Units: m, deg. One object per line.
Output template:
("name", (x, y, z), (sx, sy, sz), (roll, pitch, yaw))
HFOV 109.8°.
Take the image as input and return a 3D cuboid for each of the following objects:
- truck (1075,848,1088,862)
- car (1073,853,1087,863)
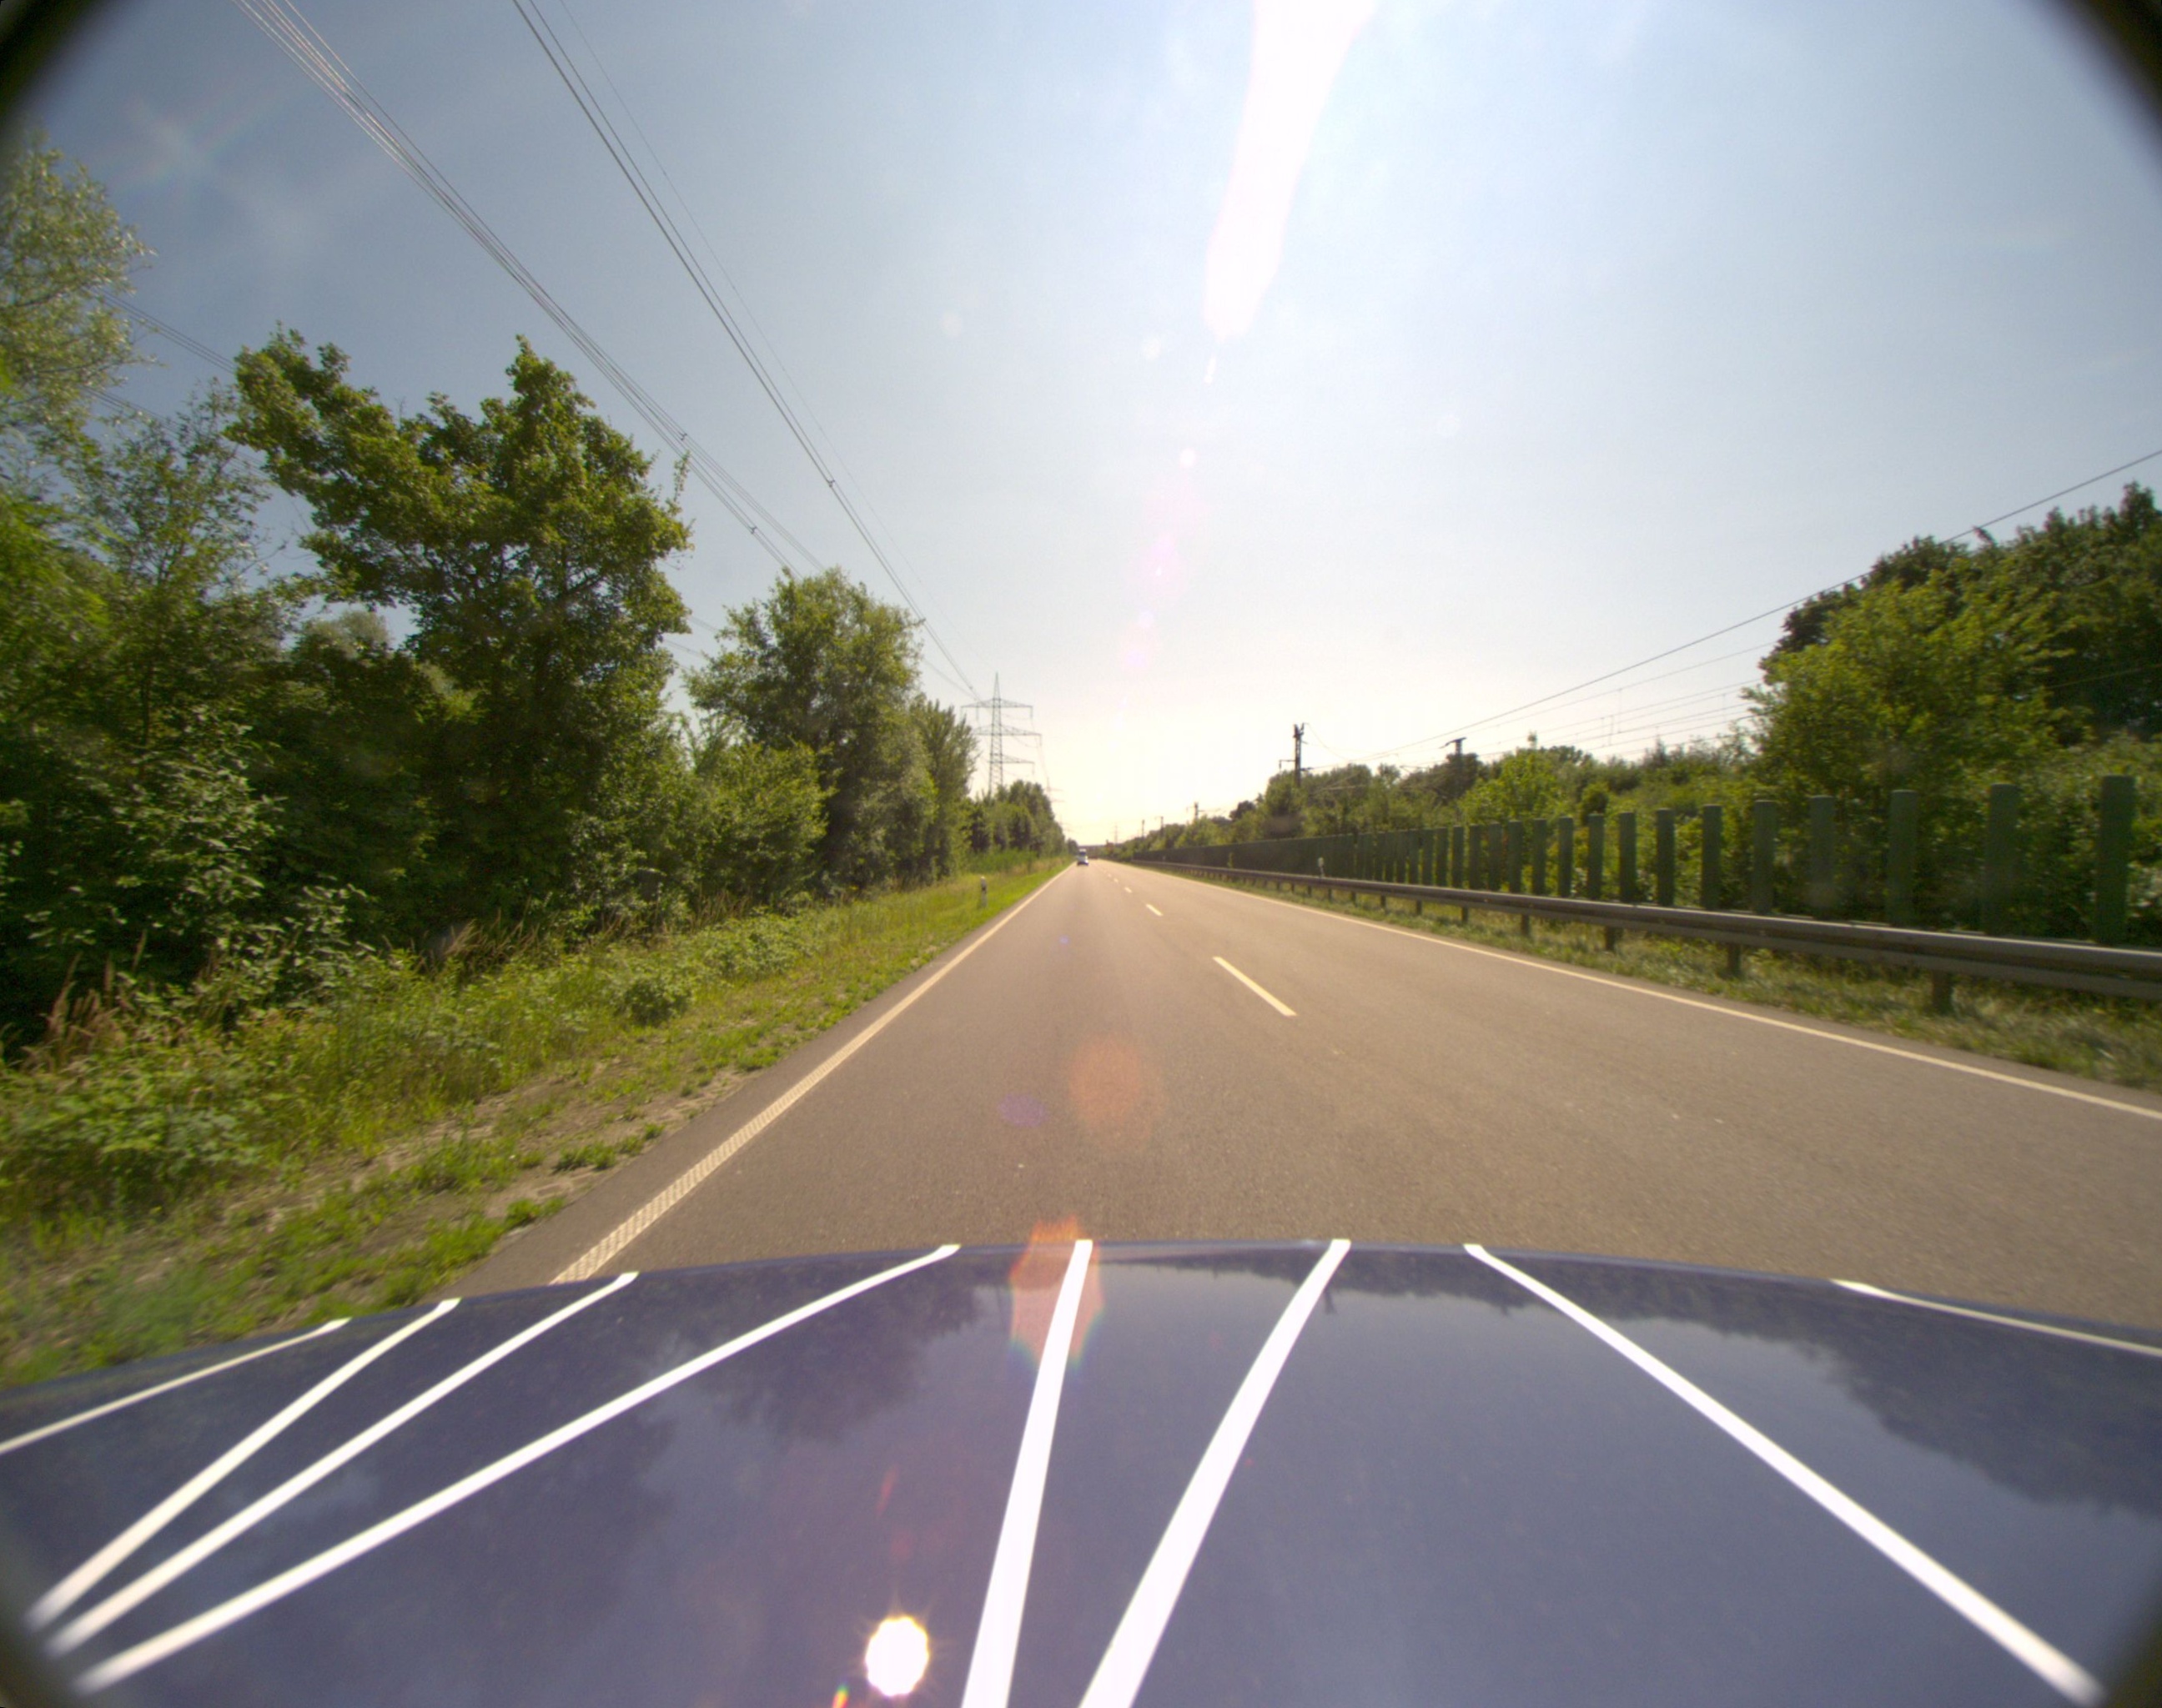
("truck", (0.189, 0.161, 269.518), (4.219, 4.608, 21.302), (-2, 0, 0))
("car", (-0.143, 0.550, 112.612), (1.999, 1.346, 4.157), (-2, 1, -1))
